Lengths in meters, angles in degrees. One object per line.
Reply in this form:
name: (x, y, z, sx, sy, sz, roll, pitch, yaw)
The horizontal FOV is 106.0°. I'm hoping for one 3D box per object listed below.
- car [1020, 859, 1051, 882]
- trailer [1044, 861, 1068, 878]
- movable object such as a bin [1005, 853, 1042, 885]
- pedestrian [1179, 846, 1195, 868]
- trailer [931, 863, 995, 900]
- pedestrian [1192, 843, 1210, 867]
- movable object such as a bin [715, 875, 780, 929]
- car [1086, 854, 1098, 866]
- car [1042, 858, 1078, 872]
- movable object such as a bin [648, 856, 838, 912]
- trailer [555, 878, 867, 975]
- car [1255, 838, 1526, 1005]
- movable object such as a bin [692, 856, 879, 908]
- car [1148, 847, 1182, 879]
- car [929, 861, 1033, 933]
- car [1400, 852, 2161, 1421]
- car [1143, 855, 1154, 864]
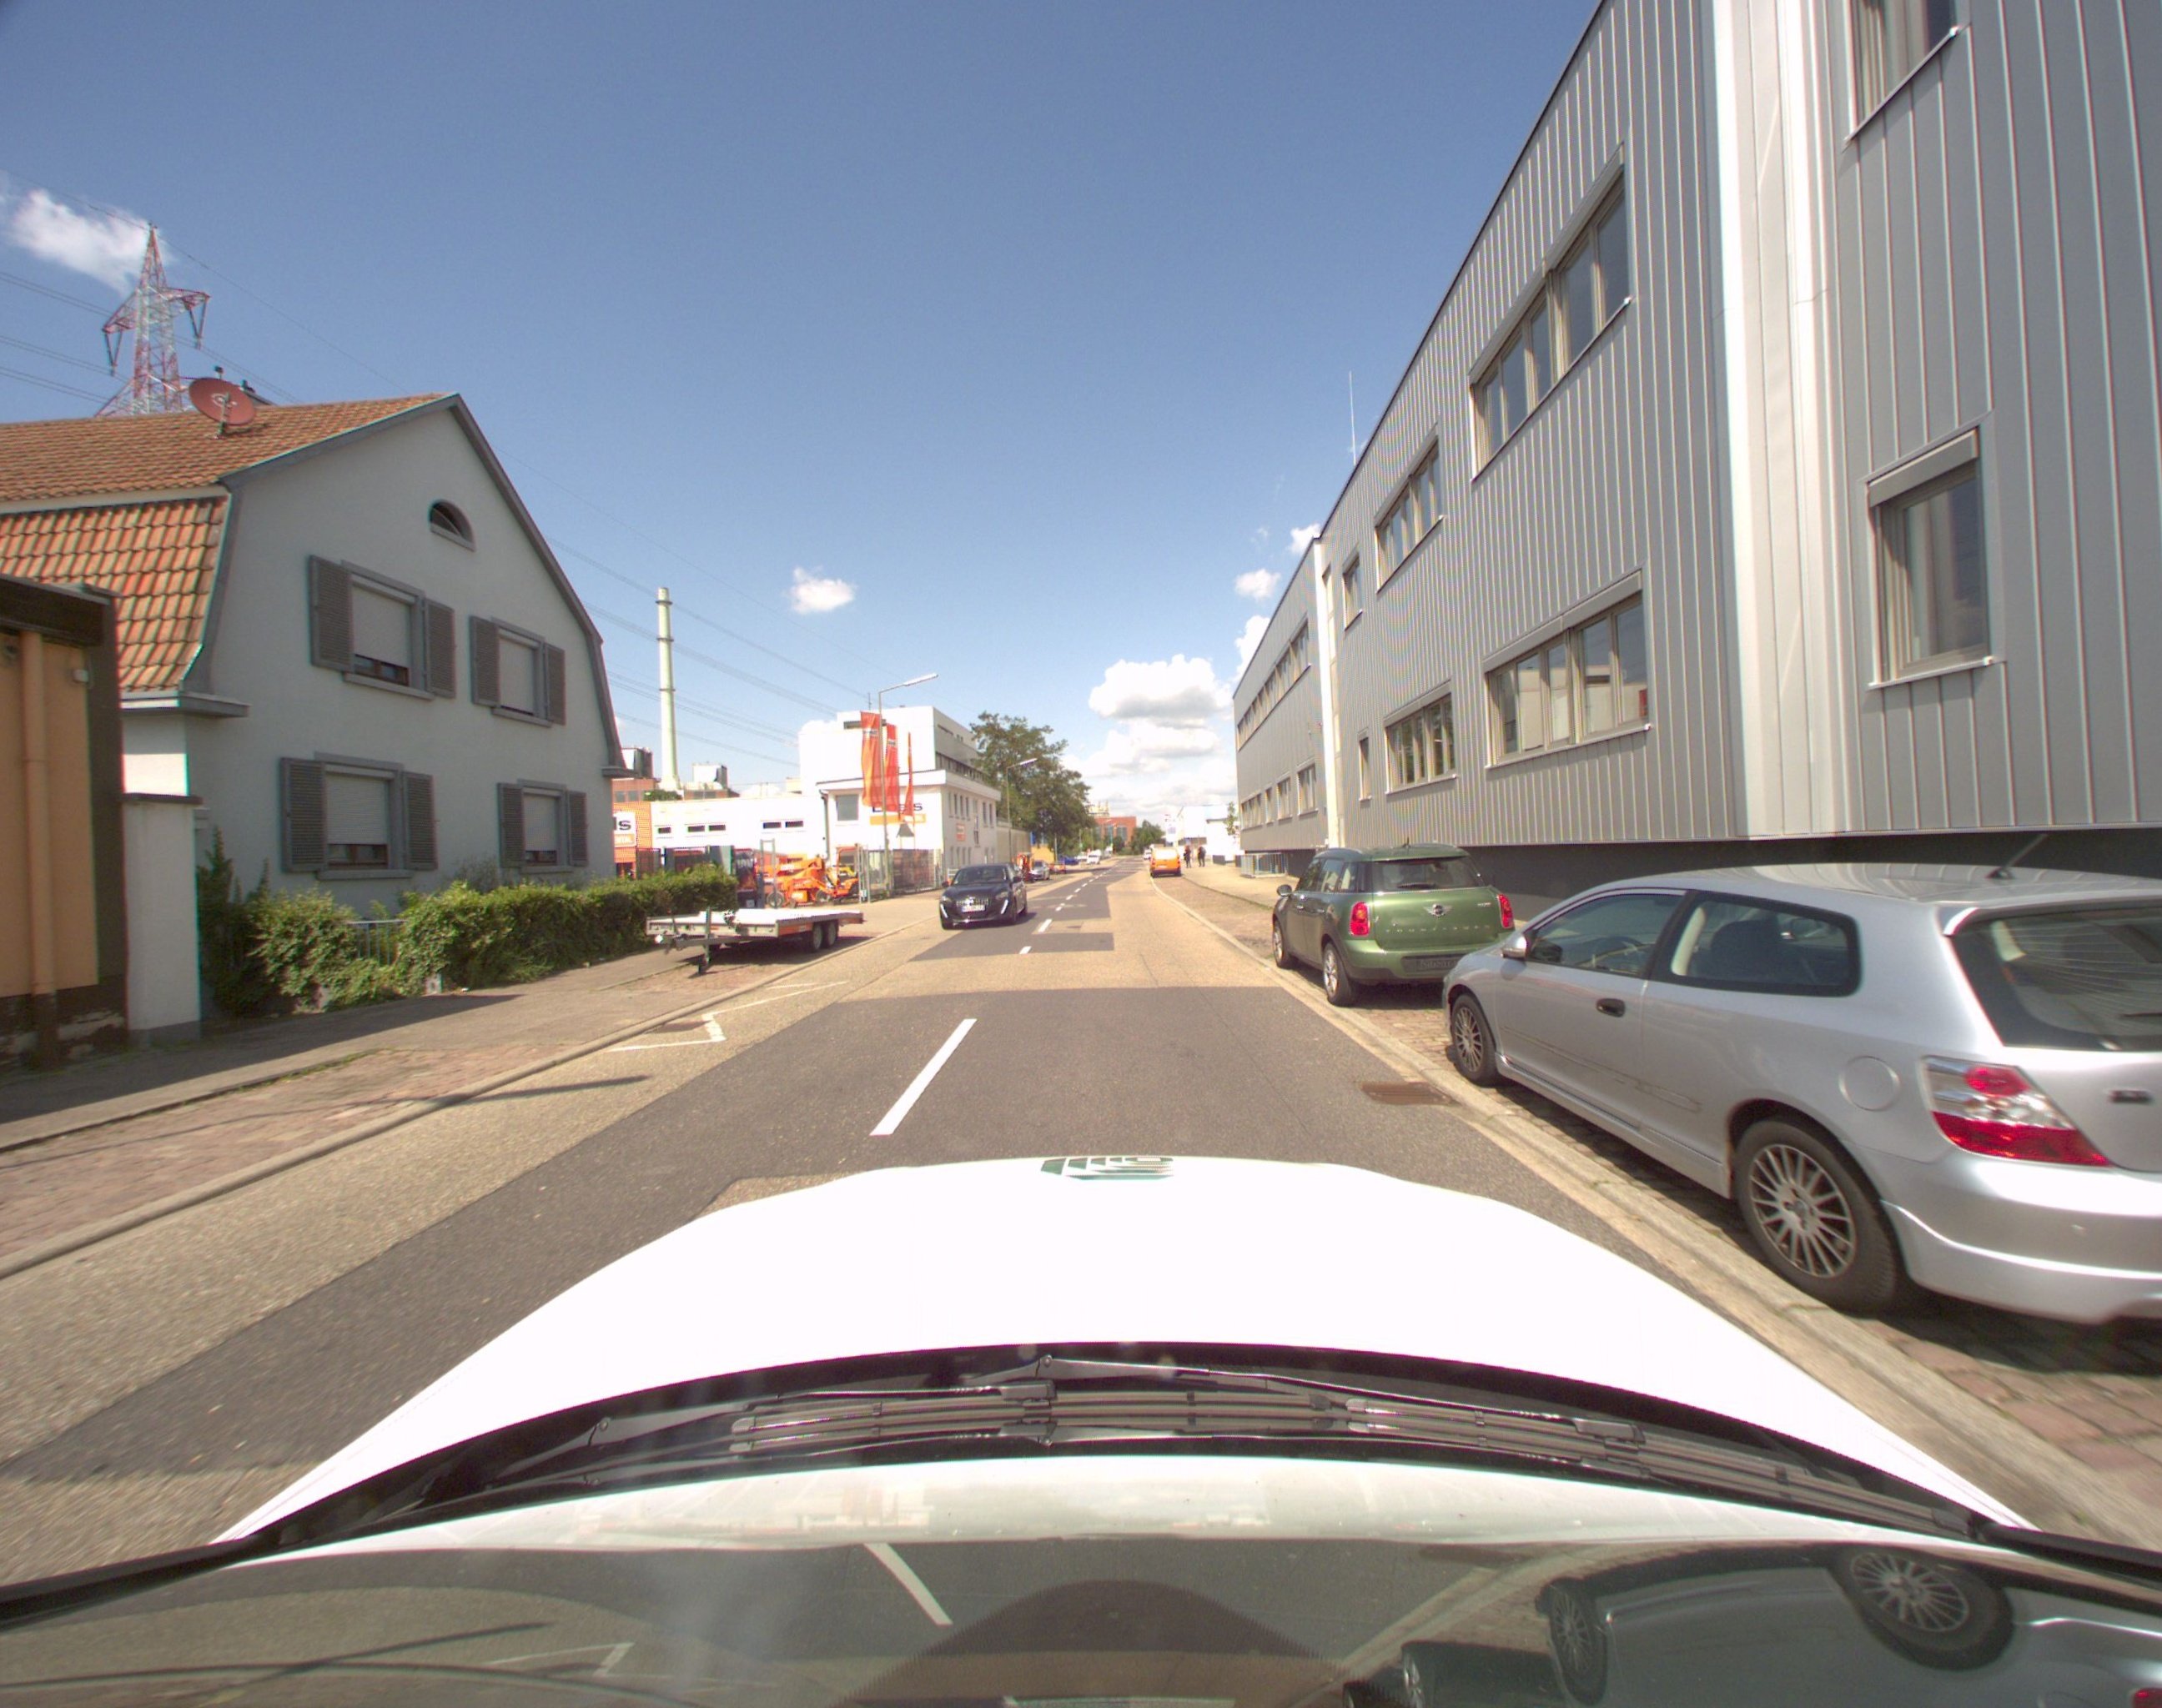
car: (-3.131, 1.105, 56.430, 1.666, 1.455, 4.516, -1, -1, 2)
trailer: (-2.222, 1.367, 73.673, 1.759, 1.439, 4.341, 0, 0, 4)
movable object such as a bin: (-3.577, 0.886, 51.262, 1.607, 1.919, 5.143, 1, 0, 3)
pedestrian: (8.714, 0.250, 66.796, 0.859, 1.807, 0.999, -4, -1, -19)
trailer: (-4.920, 1.123, 34.763, 1.760, 1.376, 5.054, -1, -1, 2)
pedestrian: (9.899, 0.077, 67.427, 0.992, 1.951, 1.084, -4, -1, -19)
movable object such as a bin: (-9.615, 1.373, 23.533, 1.312, 1.427, 1.188, -3, -1, -2)
car: (1.706, 0.925, 125.248, 1.680, 1.664, 4.000, -2, 0, 0)
car: (-2.886, 1.536, 113.011, 4.686, 1.593, 1.909, -4, 0, -10)
movable object such as a bin: (-13.764, 1.197, 33.494, 6.847, 2.005, 1.903, -2, 0, -4)
trailer: (-5.954, 1.108, 14.364, 2.440, 1.164, 6.058, -1, -1, 3)
car: (3.255, 0.635, 9.488, 1.704, 1.511, 4.116, 0, -1, 2)
movable object such as a bin: (-13.105, 1.230, 36.500, 7.582, 2.005, 1.903, -2, 0, -4)
car: (5.276, 0.554, 51.610, 1.864, 1.892, 4.455, 1, 0, 2)
car: (-2.298, 0.961, 19.790, 1.728, 1.442, 4.003, -4, -1, 3)
car: (3.272, 0.726, 4.185, 1.704, 1.433, 4.258, 0, 0, 2)
car: (12.758, 1.046, 154.557, 1.859, 1.520, 4.602, -3, -1, 4)
